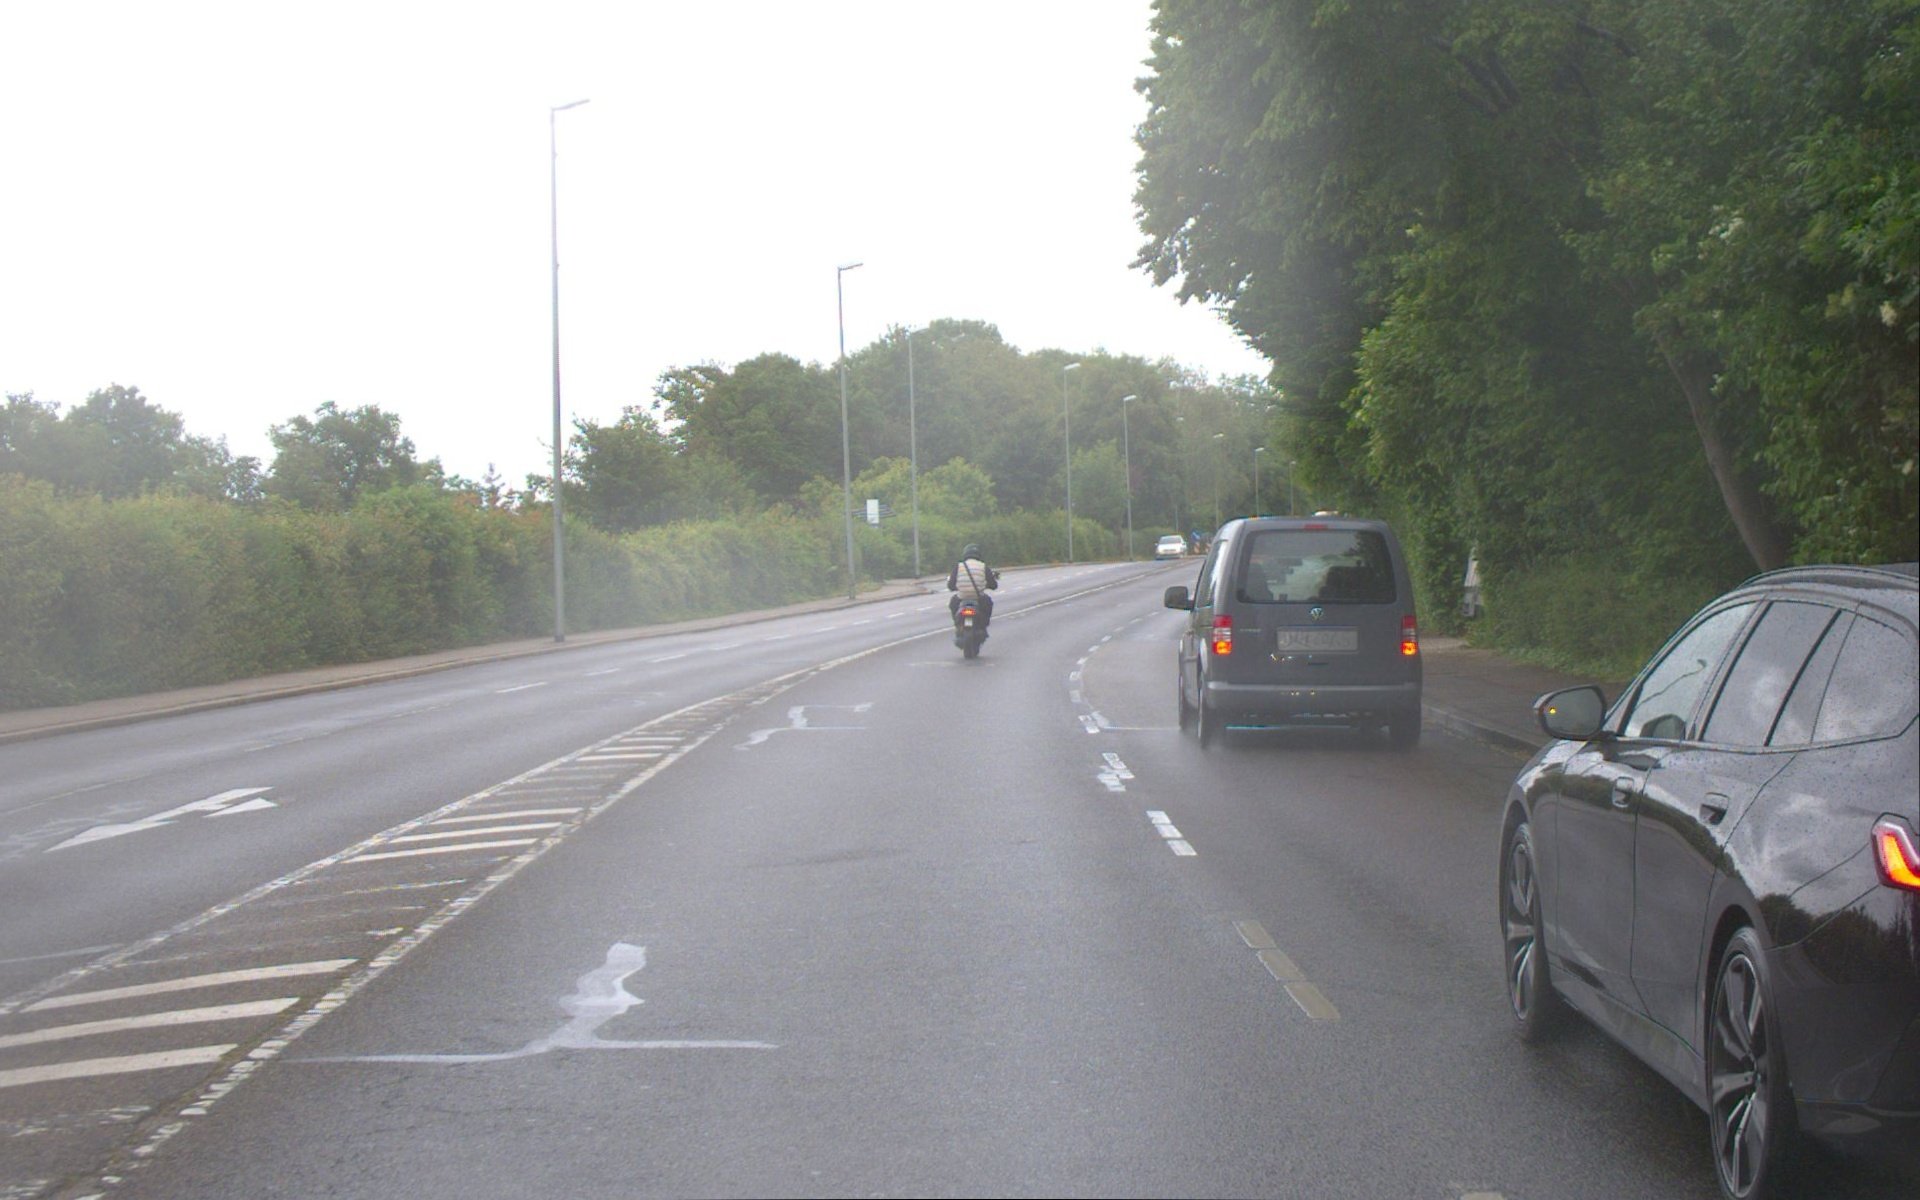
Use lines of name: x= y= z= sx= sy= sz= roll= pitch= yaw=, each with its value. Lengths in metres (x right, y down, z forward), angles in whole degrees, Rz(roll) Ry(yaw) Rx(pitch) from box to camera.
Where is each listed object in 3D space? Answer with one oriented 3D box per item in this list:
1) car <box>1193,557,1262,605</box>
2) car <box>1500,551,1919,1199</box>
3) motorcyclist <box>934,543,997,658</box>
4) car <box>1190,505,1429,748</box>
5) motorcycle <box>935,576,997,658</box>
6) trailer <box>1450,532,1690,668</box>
car: x=8.856 y=-0.641 z=113.542 sx=2.015 sy=1.410 sz=4.485 roll=0 pitch=2 yaw=8
car: x=2.566 y=0.673 z=8.412 sx=1.764 sy=1.531 sz=3.673 roll=1 pitch=0 yaw=-2
motorcyclist: x=0.086 y=-0.002 z=49.708 sx=0.845 sy=1.641 sz=0.468 roll=0 pitch=2 yaw=7
car: x=2.806 y=0.147 z=28.279 sx=1.767 sy=1.803 sz=3.905 roll=0 pitch=2 yaw=3
motorcycle: x=0.096 y=0.240 z=49.773 sx=0.741 sy=1.115 sz=1.426 roll=0 pitch=2 yaw=6
trailer: x=9.364 y=-0.007 z=52.896 sx=3.349 sy=1.642 sz=1.198 roll=7 pitch=2 yaw=4
